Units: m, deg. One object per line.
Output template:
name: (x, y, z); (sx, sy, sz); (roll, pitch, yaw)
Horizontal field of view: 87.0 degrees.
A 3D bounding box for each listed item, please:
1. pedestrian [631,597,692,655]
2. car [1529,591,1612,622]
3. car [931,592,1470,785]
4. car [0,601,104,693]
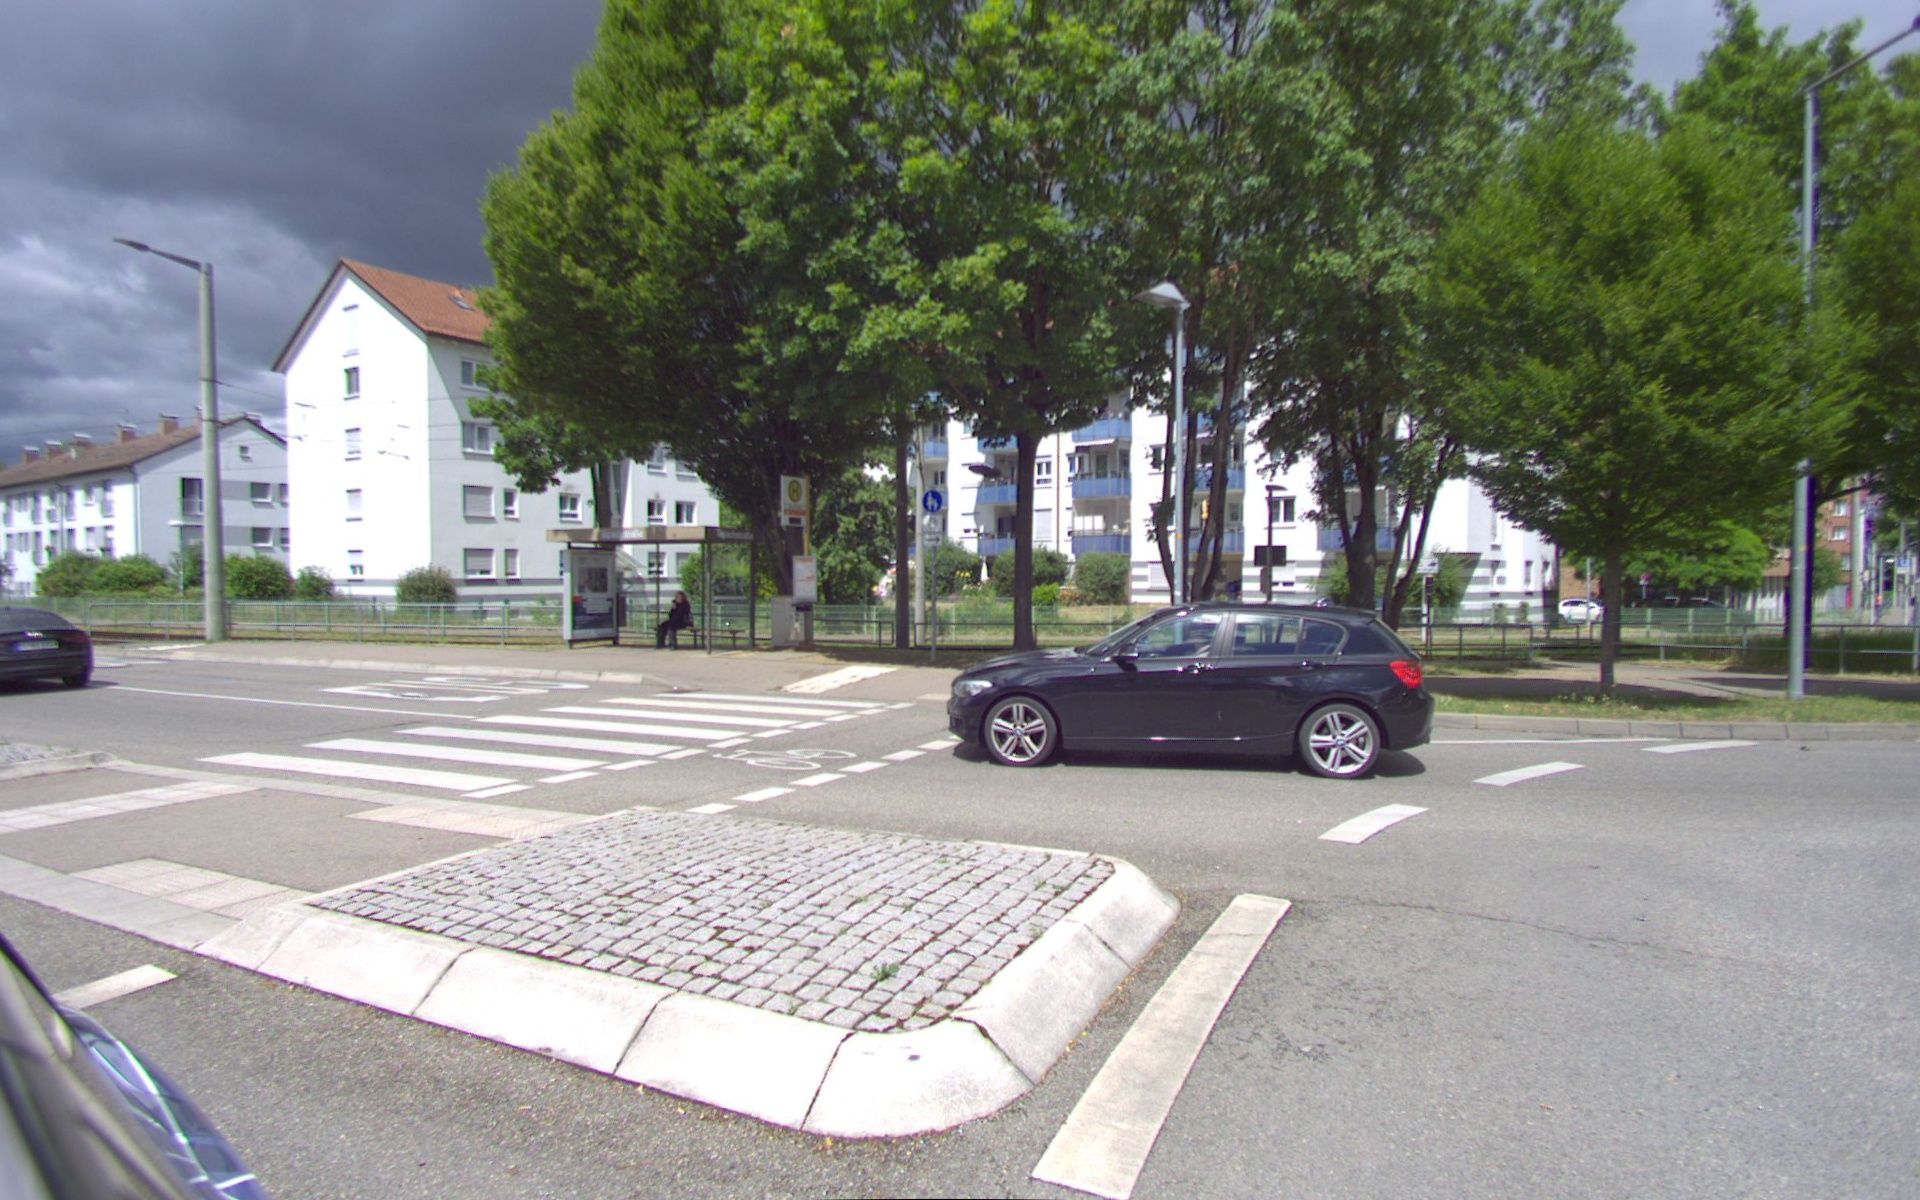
pedestrian: (-6.129, 0.514, 20.803); (0.907, 1.143, 0.793); (0, 2, 29)
car: (36.868, 0.365, 61.148); (3.998, 1.822, 1.973); (0, 1, 41)
car: (2.047, 0.712, 9.301); (4.340, 1.465, 1.853); (-1, 2, 11)
car: (-16.670, 0.734, 17.310); (4.603, 1.394, 1.804); (0, 1, 32)
